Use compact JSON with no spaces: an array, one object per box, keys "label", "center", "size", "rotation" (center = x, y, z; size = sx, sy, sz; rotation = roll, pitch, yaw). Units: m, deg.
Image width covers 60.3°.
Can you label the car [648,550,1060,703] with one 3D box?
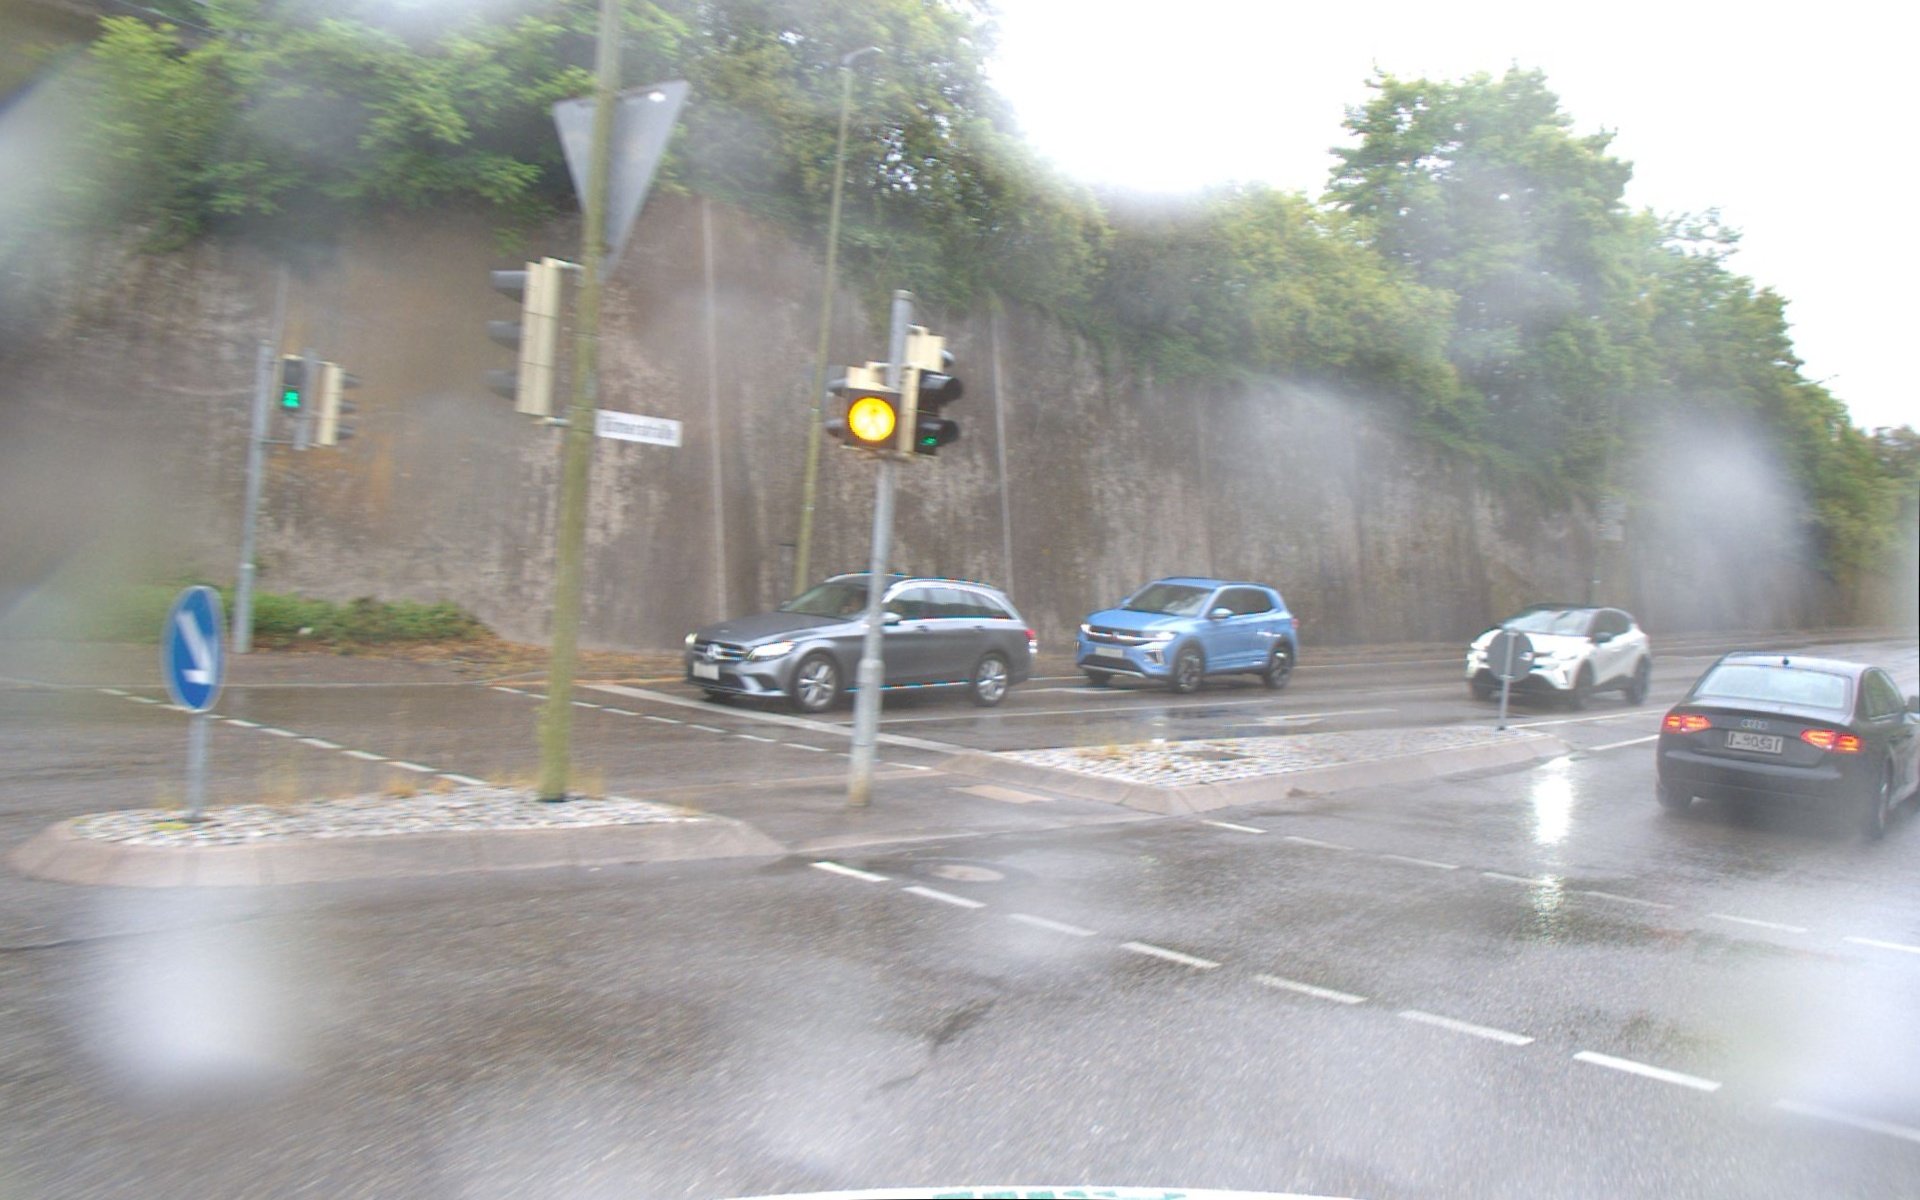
[{"label":"car","center":[-1.098,0.279,19.197],"size":[1.966,1.529,4.697],"rotation":[2,1,43]}]

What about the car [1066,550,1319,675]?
[{"label":"car","center":[3.536,0.184,24.676],"size":[1.788,1.686,4.026],"rotation":[2,1,41]}]

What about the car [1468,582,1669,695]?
[{"label":"car","center":[9.886,0.588,26.708],"size":[1.840,1.629,3.980],"rotation":[2,1,39]}]

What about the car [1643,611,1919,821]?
[{"label":"car","center":[7.597,0.910,14.837],"size":[1.860,1.518,4.193],"rotation":[2,1,34]}]
